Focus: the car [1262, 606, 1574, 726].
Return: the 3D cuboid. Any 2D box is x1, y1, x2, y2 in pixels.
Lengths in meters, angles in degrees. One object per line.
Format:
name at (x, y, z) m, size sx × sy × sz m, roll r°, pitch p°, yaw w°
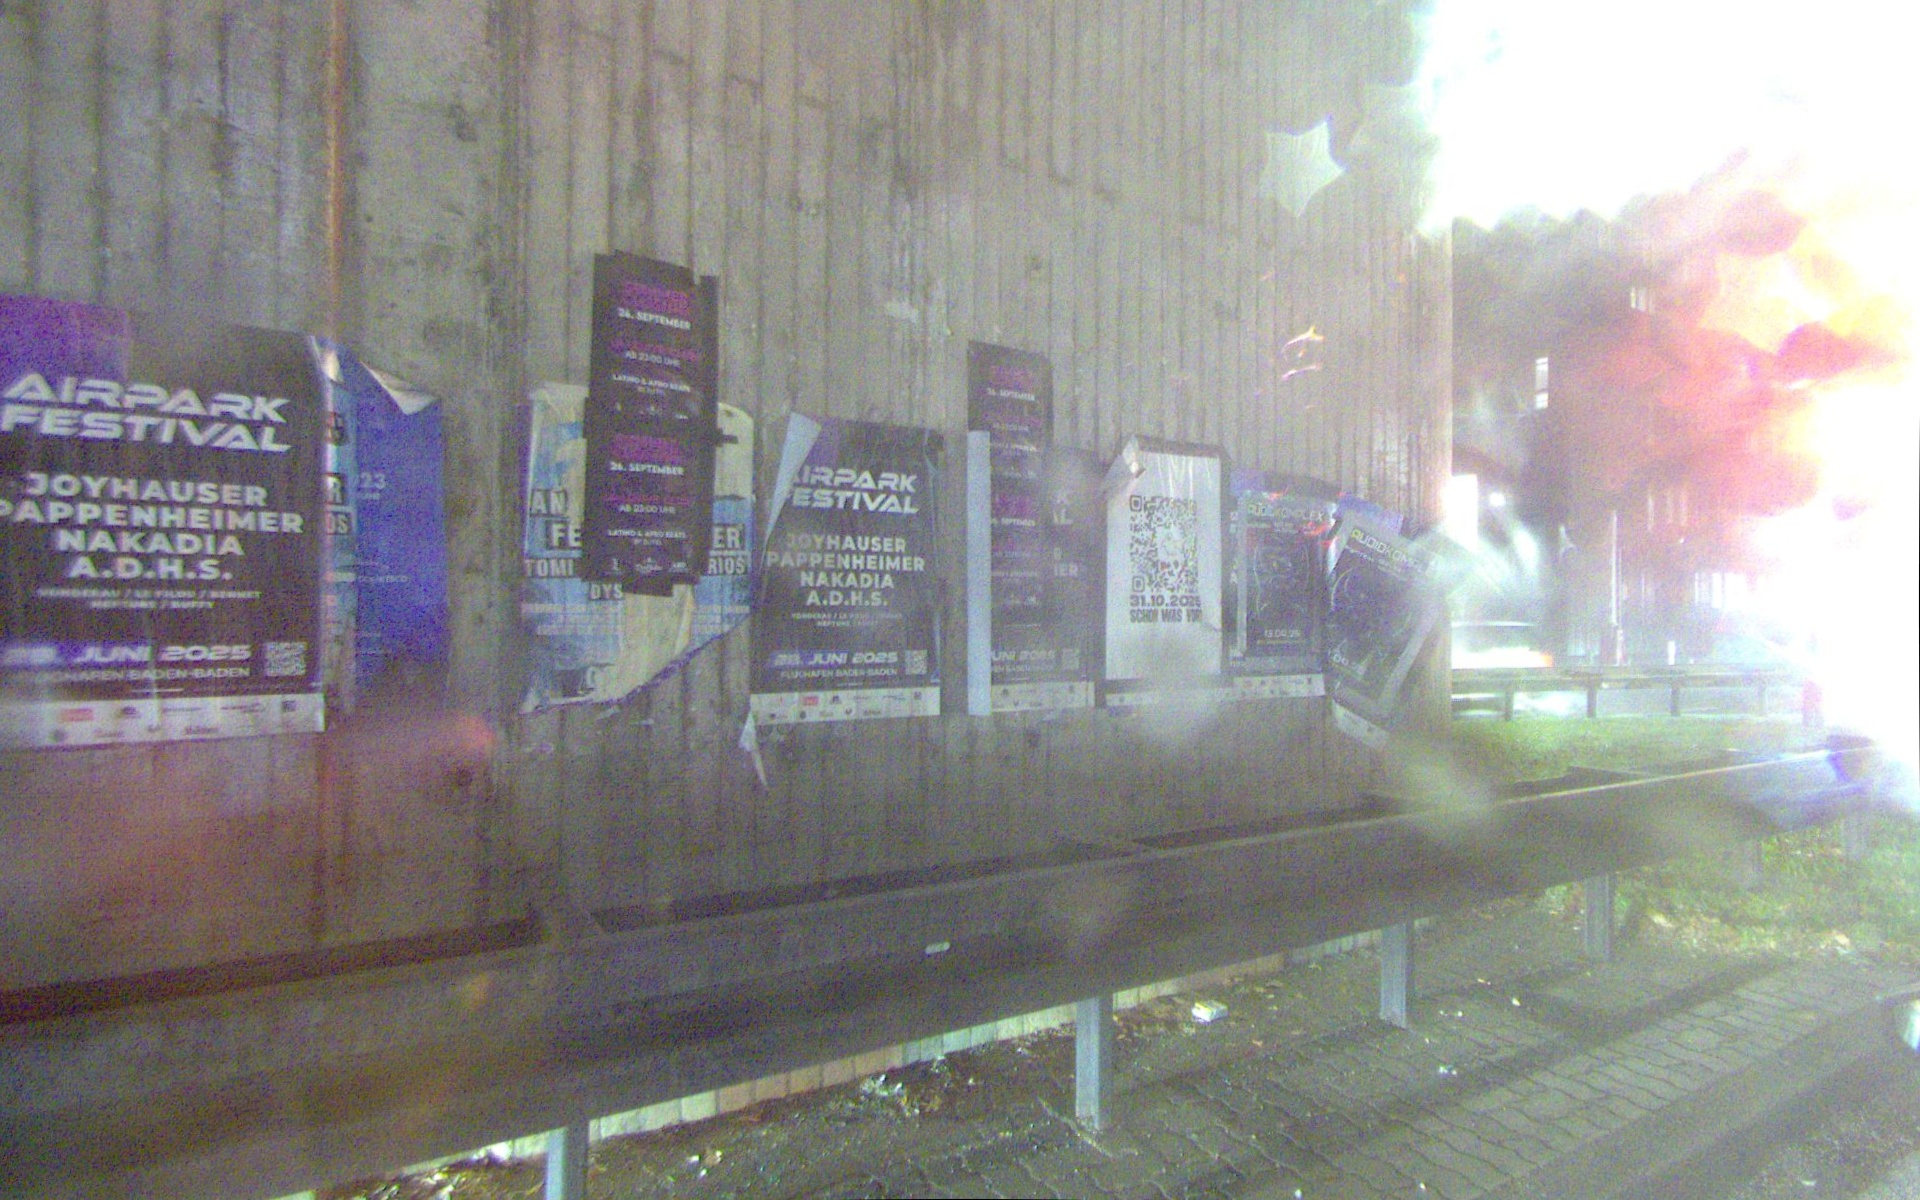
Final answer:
car at (7.365, 1.049, 16.293) m, size 4.323 × 1.764 × 1.905 m, roll 2°, pitch 0°, yaw -14°
